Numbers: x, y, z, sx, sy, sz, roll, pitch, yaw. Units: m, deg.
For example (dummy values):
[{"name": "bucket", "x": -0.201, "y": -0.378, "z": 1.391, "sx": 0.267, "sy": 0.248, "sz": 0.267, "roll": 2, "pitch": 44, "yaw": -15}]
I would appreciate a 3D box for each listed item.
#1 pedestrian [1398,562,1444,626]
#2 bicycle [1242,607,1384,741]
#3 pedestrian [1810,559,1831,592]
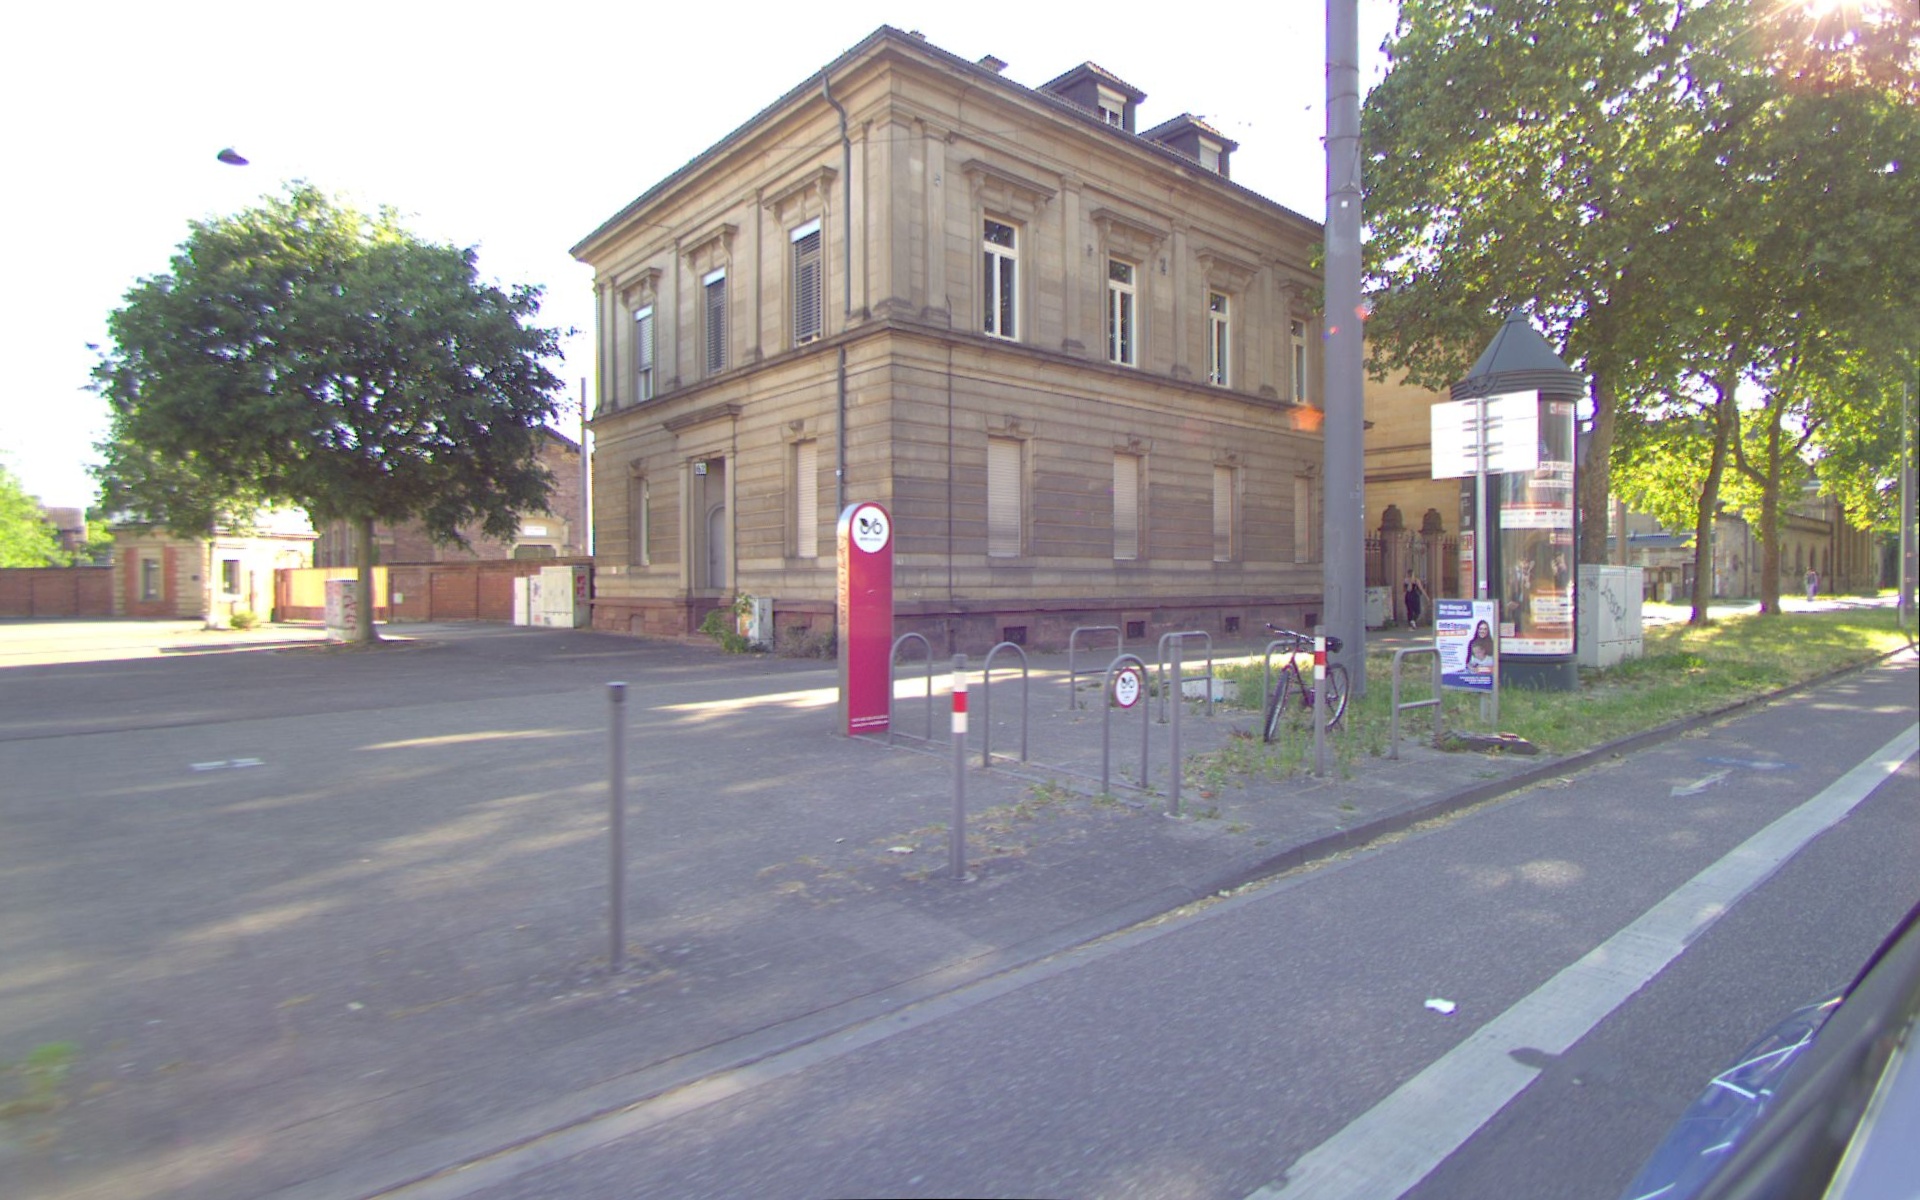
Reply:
[{"name": "pedestrian", "x": 12.035, "y": -0.166, "z": 26.431, "sx": 0.969, "sy": 1.626, "sz": 0.771, "roll": -1, "pitch": 1, "yaw": -40}, {"name": "bicycle", "x": 3.284, "y": 0.624, "z": 9.322, "sx": 0.540, "sy": 1.075, "sz": 1.743, "roll": 0, "pitch": 1, "yaw": 45}, {"name": "pedestrian", "x": 44.016, "y": -1.246, "z": 51.764, "sx": 0.859, "sy": 1.683, "sz": 0.672, "roll": -1, "pitch": 2, "yaw": -40}]
